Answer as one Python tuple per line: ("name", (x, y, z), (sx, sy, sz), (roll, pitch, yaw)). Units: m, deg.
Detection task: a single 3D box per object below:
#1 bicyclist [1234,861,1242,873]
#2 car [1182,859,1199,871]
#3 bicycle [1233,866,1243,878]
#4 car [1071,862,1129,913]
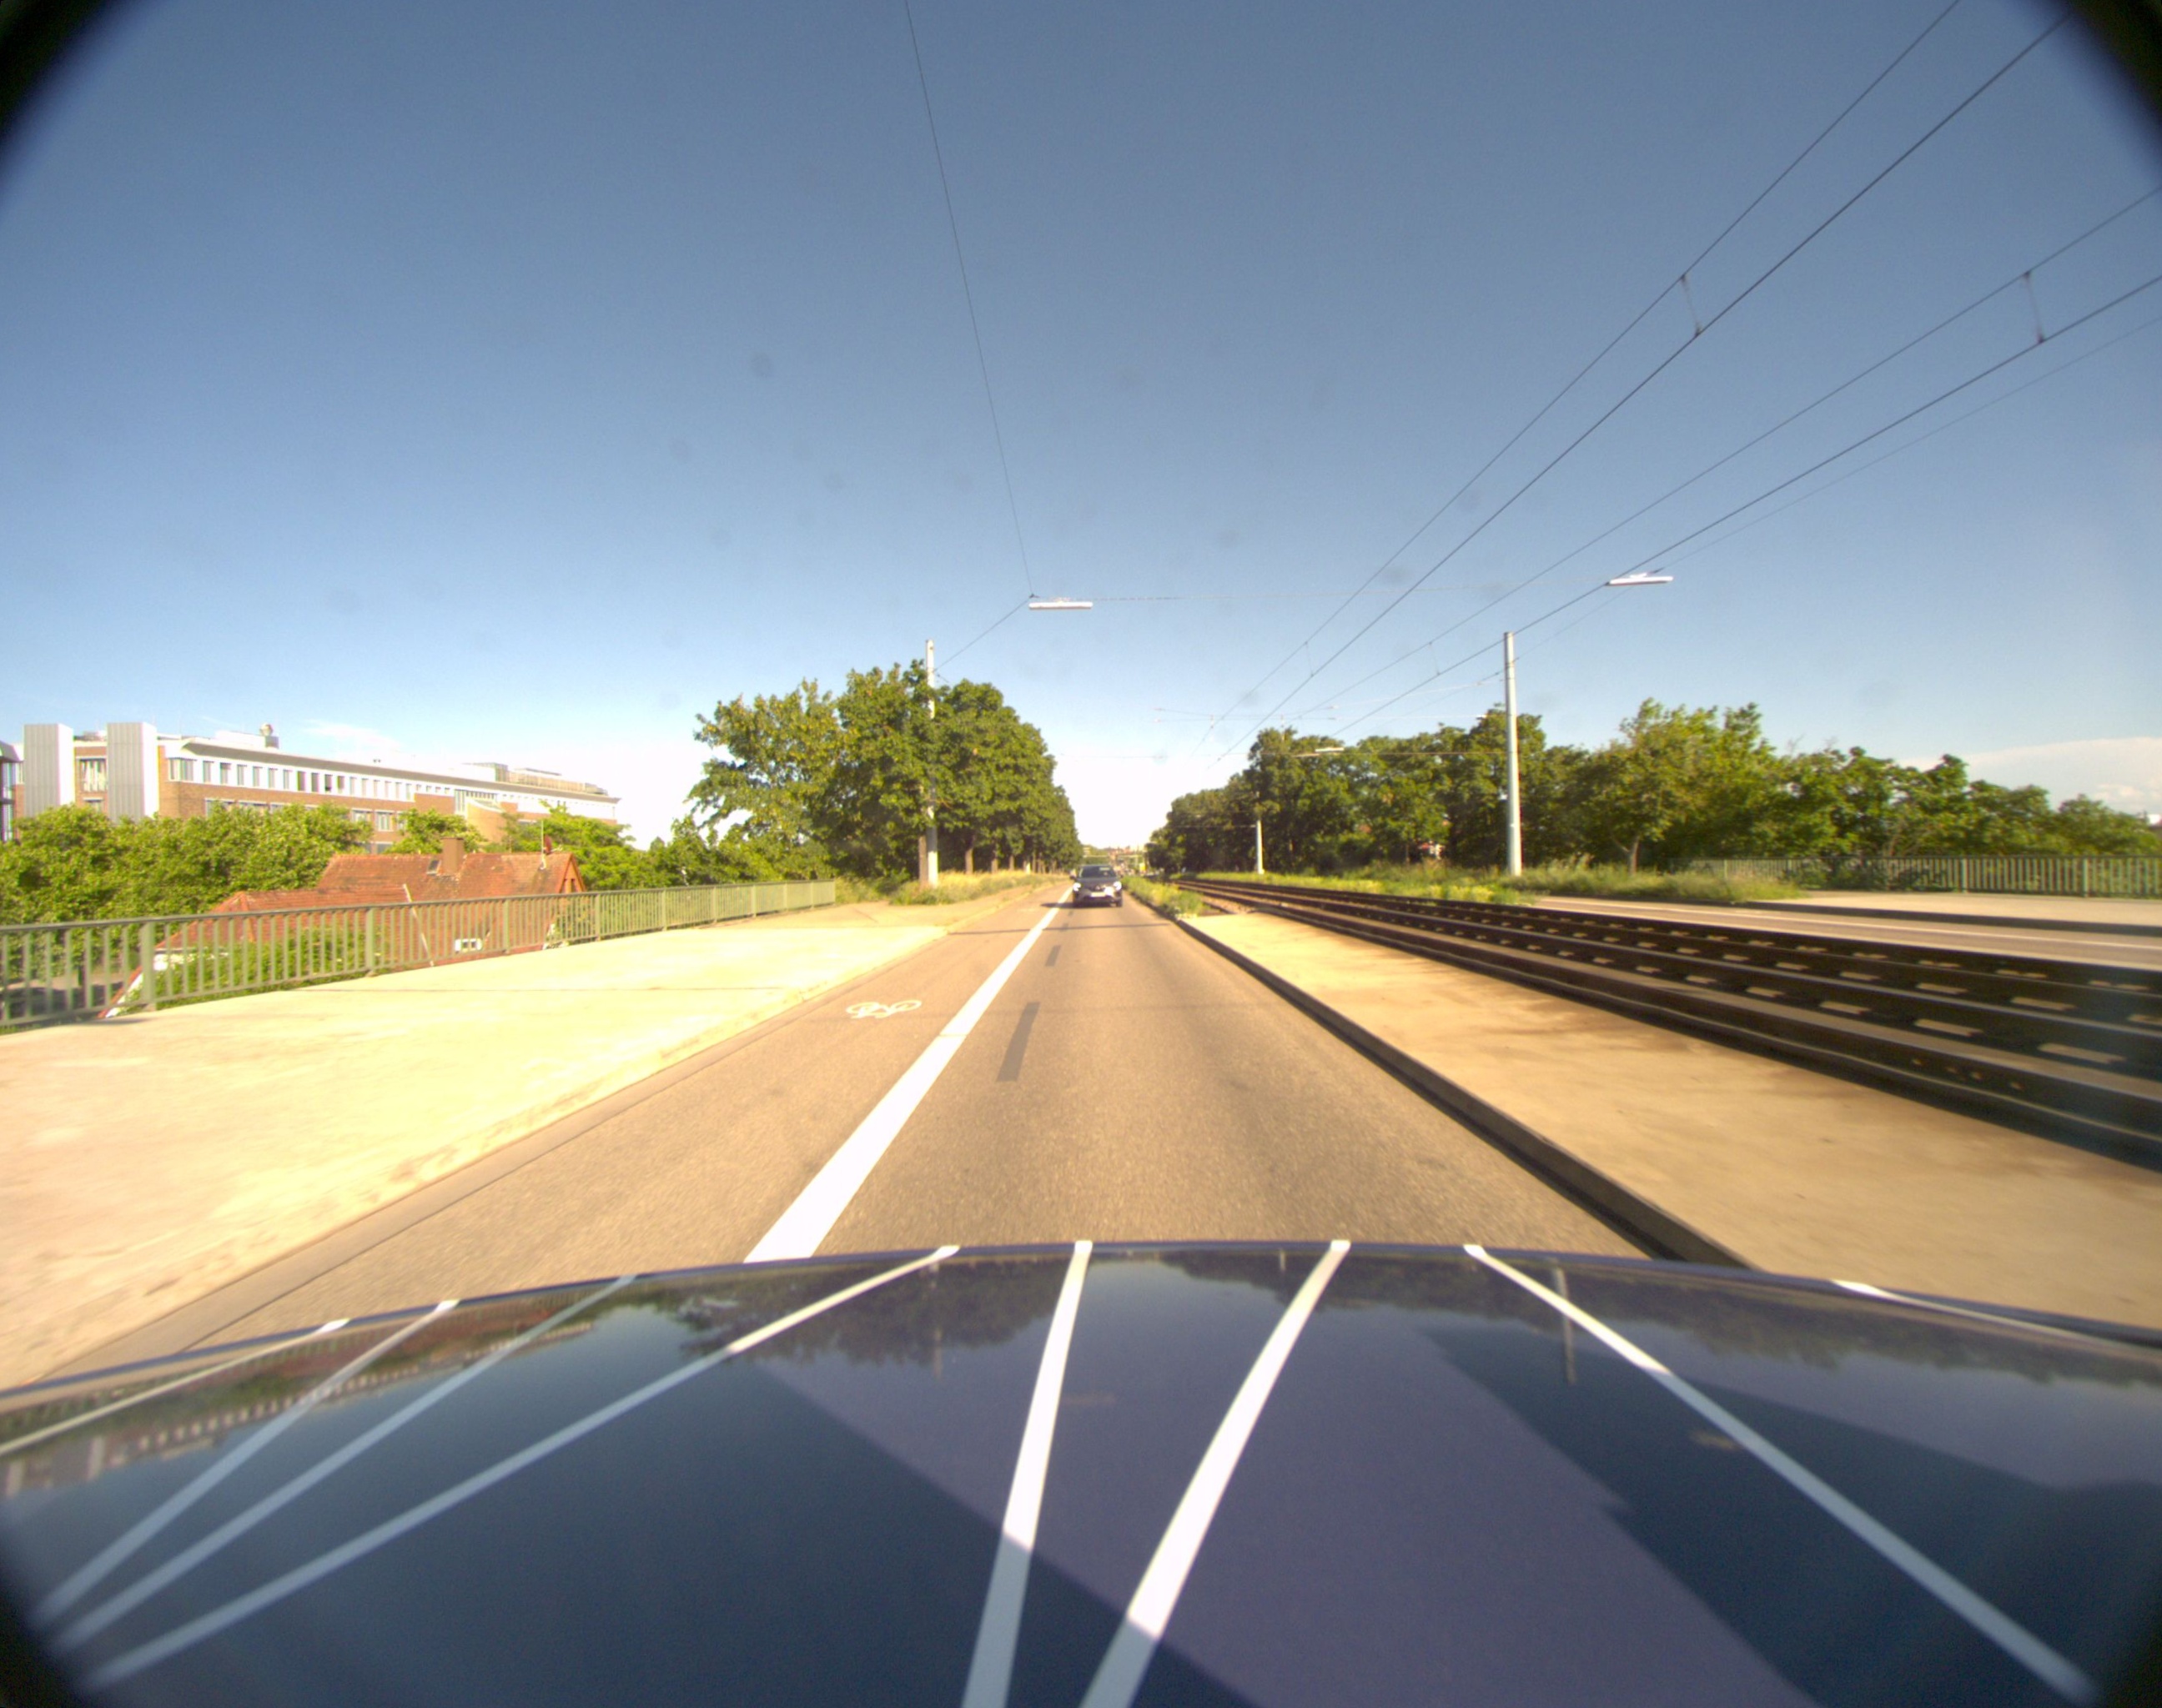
("bicyclist", (17.230, 1.435, 83.467), (0.584, 1.302, 0.987), (-3, -1, 1))
("car", (14.828, 1.523, 103.339), (1.814, 1.479, 4.408), (-3, -1, 2))
("bicycle", (17.266, 1.949, 83.486), (0.591, 1.253, 2.428), (-3, -1, 1))
("car", (0.677, 1.119, 27.123), (1.814, 1.625, 4.711), (-2, -1, 1))
